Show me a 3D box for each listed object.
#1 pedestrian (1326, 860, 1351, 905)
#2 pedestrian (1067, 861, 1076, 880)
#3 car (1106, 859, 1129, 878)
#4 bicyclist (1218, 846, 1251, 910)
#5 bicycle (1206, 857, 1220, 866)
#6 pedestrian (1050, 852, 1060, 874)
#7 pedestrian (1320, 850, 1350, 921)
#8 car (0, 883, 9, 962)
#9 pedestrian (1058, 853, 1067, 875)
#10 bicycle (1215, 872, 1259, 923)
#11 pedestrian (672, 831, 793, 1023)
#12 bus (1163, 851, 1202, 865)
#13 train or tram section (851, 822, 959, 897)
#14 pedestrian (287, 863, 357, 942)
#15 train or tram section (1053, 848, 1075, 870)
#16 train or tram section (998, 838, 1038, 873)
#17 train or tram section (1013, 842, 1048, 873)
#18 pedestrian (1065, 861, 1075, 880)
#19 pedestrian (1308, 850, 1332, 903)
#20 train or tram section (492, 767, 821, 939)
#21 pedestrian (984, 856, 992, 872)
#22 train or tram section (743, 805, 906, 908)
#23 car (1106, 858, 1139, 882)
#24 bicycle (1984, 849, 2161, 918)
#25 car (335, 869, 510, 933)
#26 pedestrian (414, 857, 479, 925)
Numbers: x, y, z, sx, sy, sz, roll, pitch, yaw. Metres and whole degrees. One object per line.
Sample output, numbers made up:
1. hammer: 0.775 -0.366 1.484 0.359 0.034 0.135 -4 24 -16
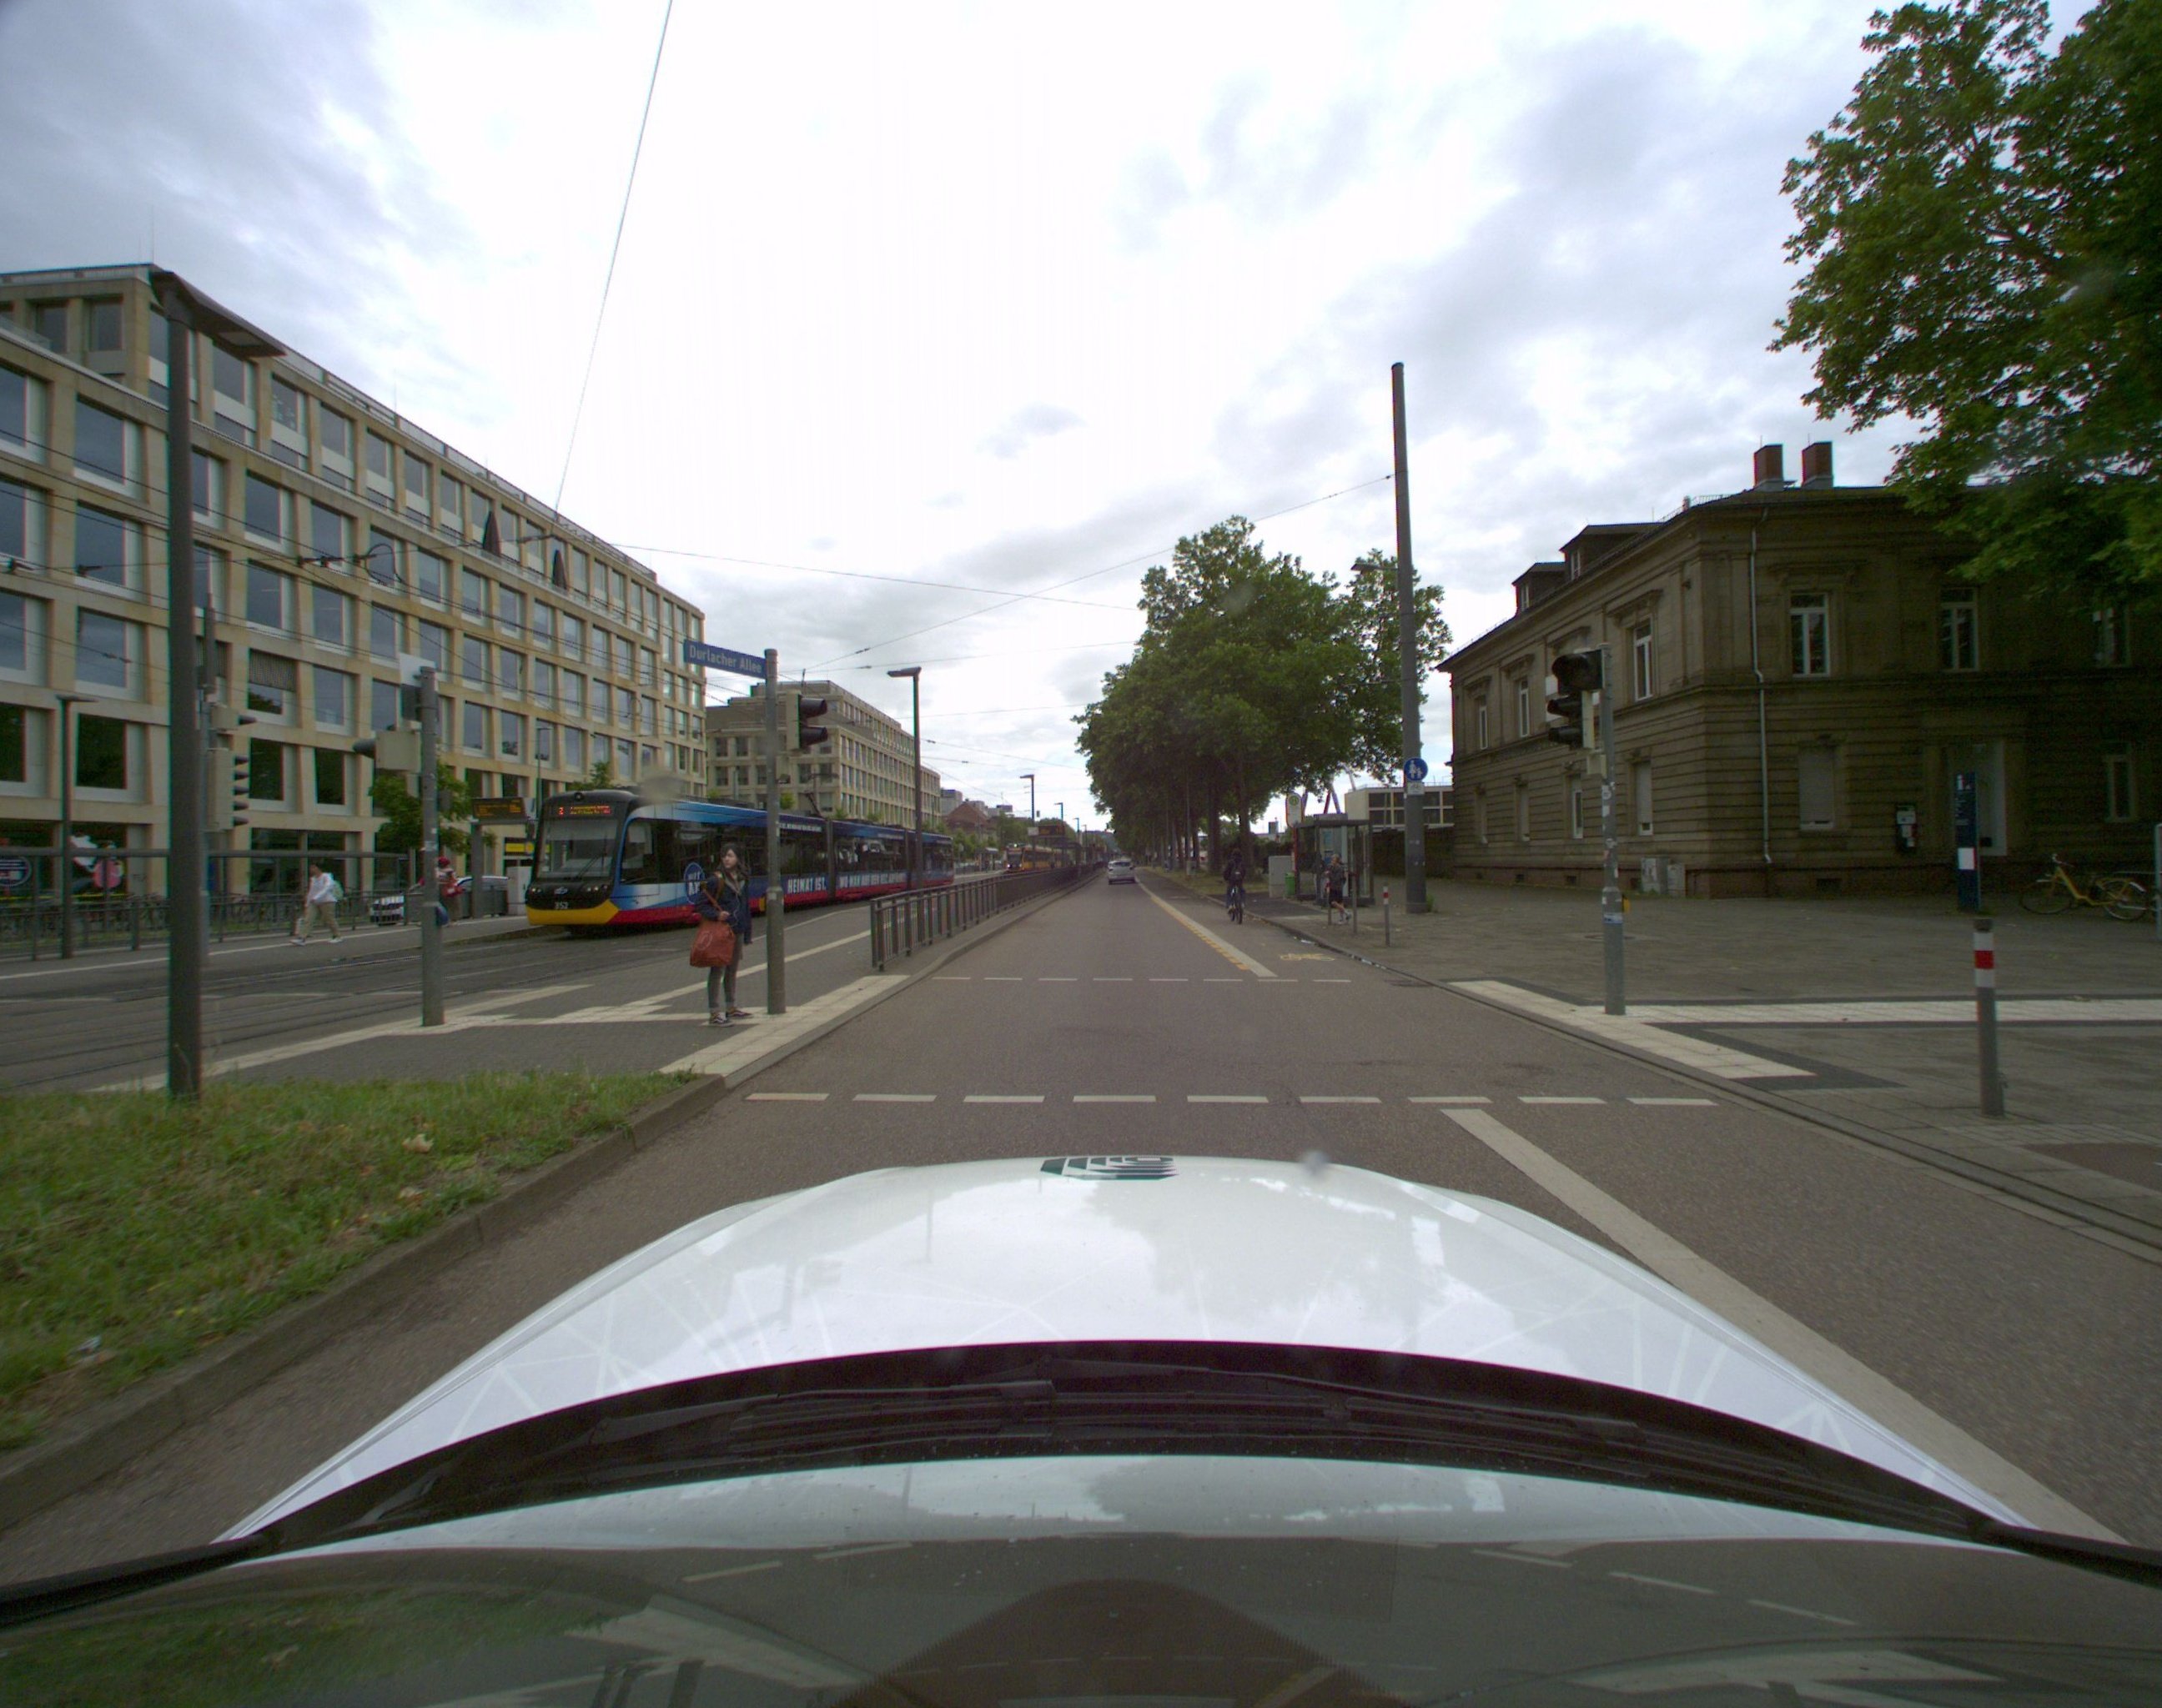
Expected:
1. pedestrian: 7.275 0.796 23.053 0.474 1.234 0.703 -2 -1 2
2. pedestrian: -0.676 1.172 58.977 0.608 1.372 0.600 -2 -1 3
3. car: 3.196 1.273 70.859 1.832 1.552 4.005 -1 -1 4
4. bicyclist: 3.766 0.584 19.995 0.638 1.531 0.665 -2 -1 1
5. bicycle: 19.242 1.100 118.806 1.883 1.105 0.550 -3 -1 1
6. pedestrian: -2.167 0.789 67.650 0.670 1.793 1.109 -1 -1 -10
7. pedestrian: 5.576 0.692 17.872 0.547 1.528 0.641 -2 -1 20
8. car: -20.802 1.272 13.229 1.732 1.449 3.770 -1 0 2
9. pedestrian: -1.581 0.847 68.521 0.669 1.793 1.111 -1 -1 -6
10. bicycle: 3.788 1.037 19.975 0.650 1.150 2.283 -2 -1 1
11. pedestrian: -3.225 0.632 7.530 0.865 1.643 0.645 0 -2 -39
12. bus: 24.501 0.932 196.489 9.246 2.960 2.000 -2 -1 0
13. train or tram section: -9.859 0.378 47.725 2.843 3.692 13.526 -2 -1 2
14. pedestrian: -15.681 0.985 16.836 0.705 1.586 0.766 -2 -1 1
15. train or tram section: -3.337 1.131 164.746 3.167 4.179 14.746 -2 -1 3
16. train or tram section: -7.389 0.282 97.369 3.224 3.862 11.320 -2 -1 3
17. train or tram section: -6.652 0.509 108.696 3.150 3.862 11.320 -2 -1 3
18. pedestrian: -0.796 1.143 57.694 0.608 1.341 0.600 -2 -1 3
19. pedestrian: 7.121 0.665 24.306 0.474 1.563 0.703 -2 -1 2
20. train or tram section: -11.039 0.085 23.426 2.843 3.641 11.770 -2 -1 2
21. pedestrian: -10.789 1.123 94.038 0.709 1.795 1.161 -2 -1 2
22. train or tram section: -10.487 0.192 35.128 2.843 3.641 11.705 -2 -1 2
23. car: 2.809 1.073 54.238 1.875 1.453 4.007 -2 -1 7
24. bicycle: 18.523 0.500 14.630 0.897 1.068 3.408 -1 2 1
25. car: -19.947 1.361 24.939 1.986 1.739 4.002 -2 -1 2
26. pedestrian: -15.494 0.895 19.909 0.905 1.586 0.848 -2 -1 1
